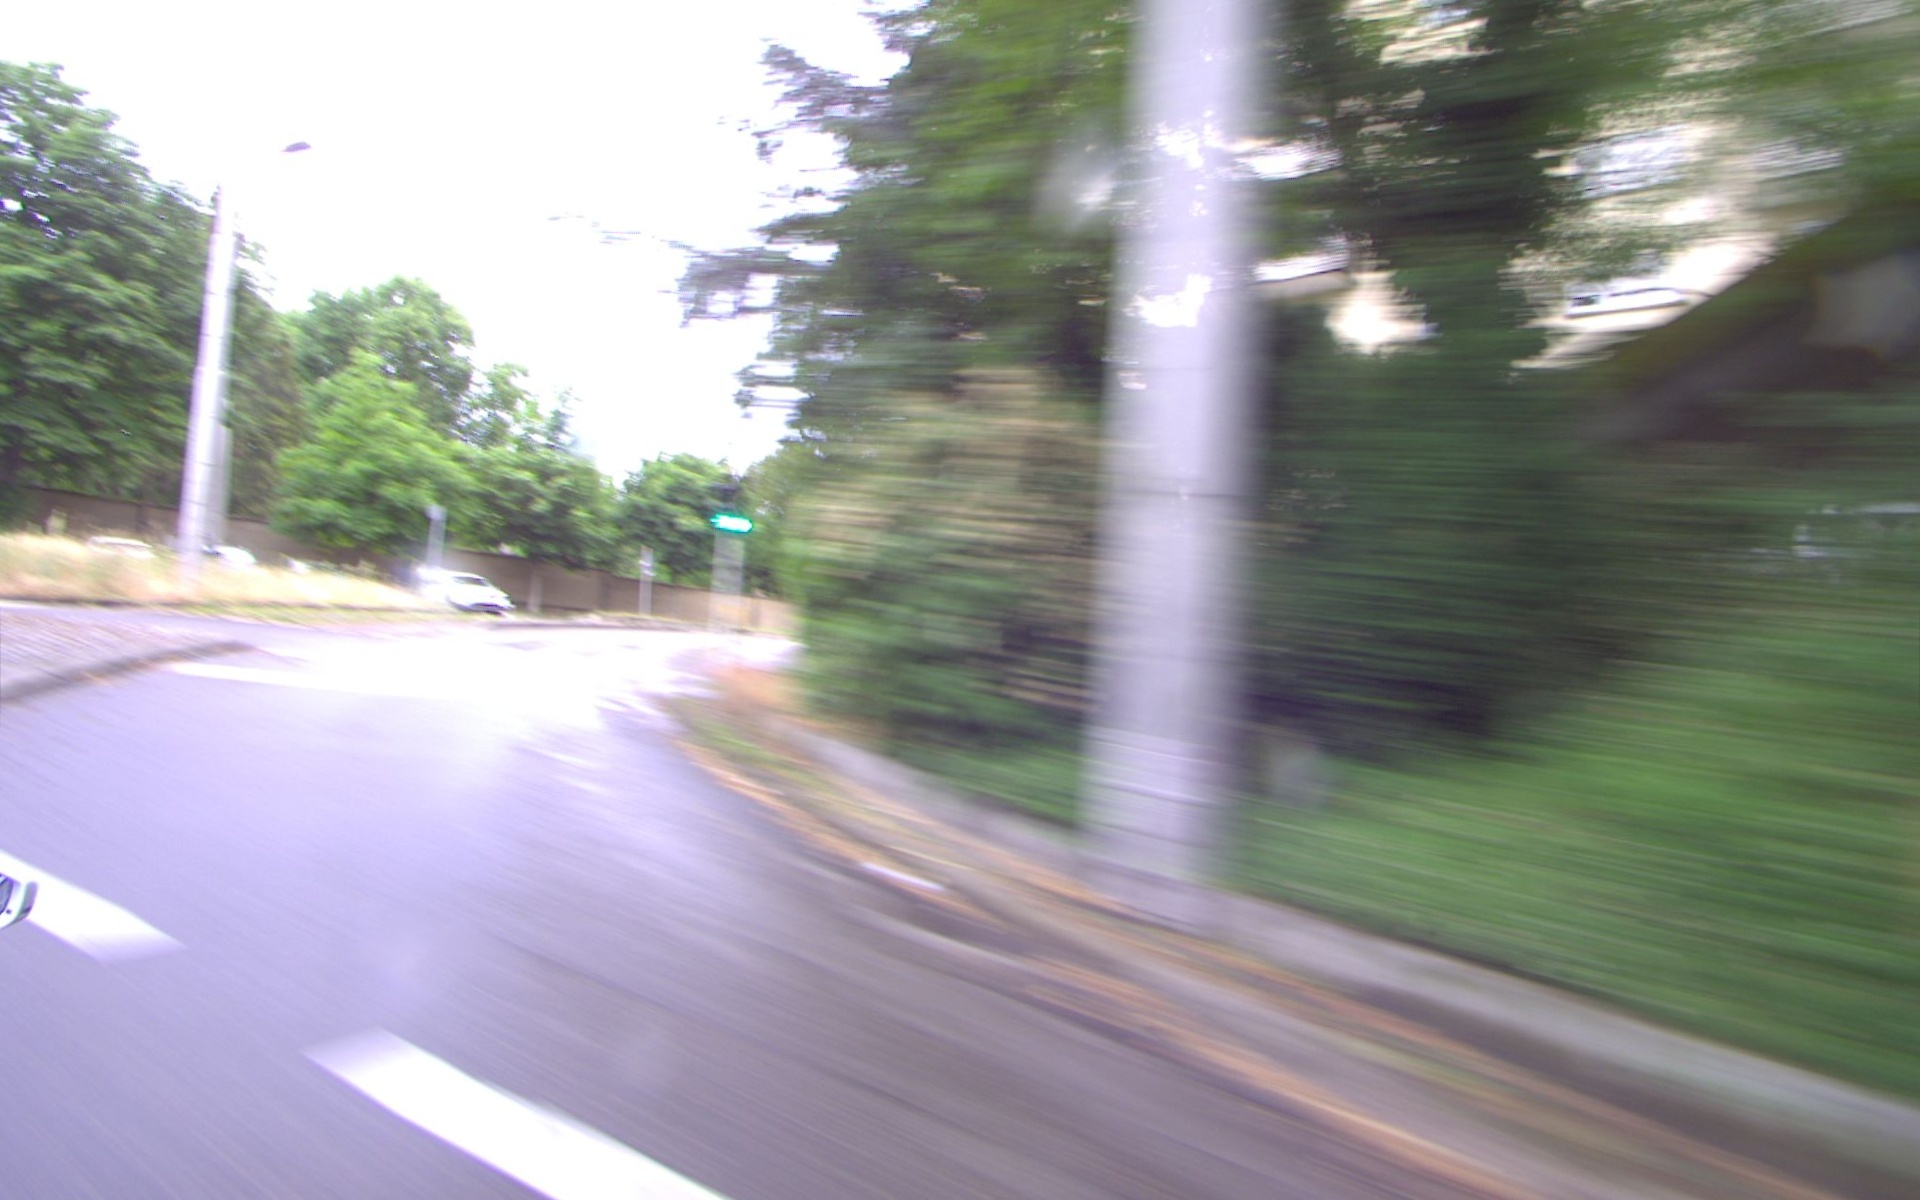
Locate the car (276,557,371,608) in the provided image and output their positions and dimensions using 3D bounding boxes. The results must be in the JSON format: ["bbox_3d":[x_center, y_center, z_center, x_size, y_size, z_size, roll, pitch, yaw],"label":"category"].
[{"bbox_3d":[-20.913,-0.544,33.010,1.779,1.406,3.954,8,-5,-44],"label":"car"}]

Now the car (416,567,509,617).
[{"bbox_3d":[-18.145,-0.254,36.624,1.778,1.574,4.171,6,-4,-44],"label":"car"}]

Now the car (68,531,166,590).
[{"bbox_3d":[-24.935,-1.134,29.698,3.951,1.422,1.749,2,-4,45],"label":"car"}]
